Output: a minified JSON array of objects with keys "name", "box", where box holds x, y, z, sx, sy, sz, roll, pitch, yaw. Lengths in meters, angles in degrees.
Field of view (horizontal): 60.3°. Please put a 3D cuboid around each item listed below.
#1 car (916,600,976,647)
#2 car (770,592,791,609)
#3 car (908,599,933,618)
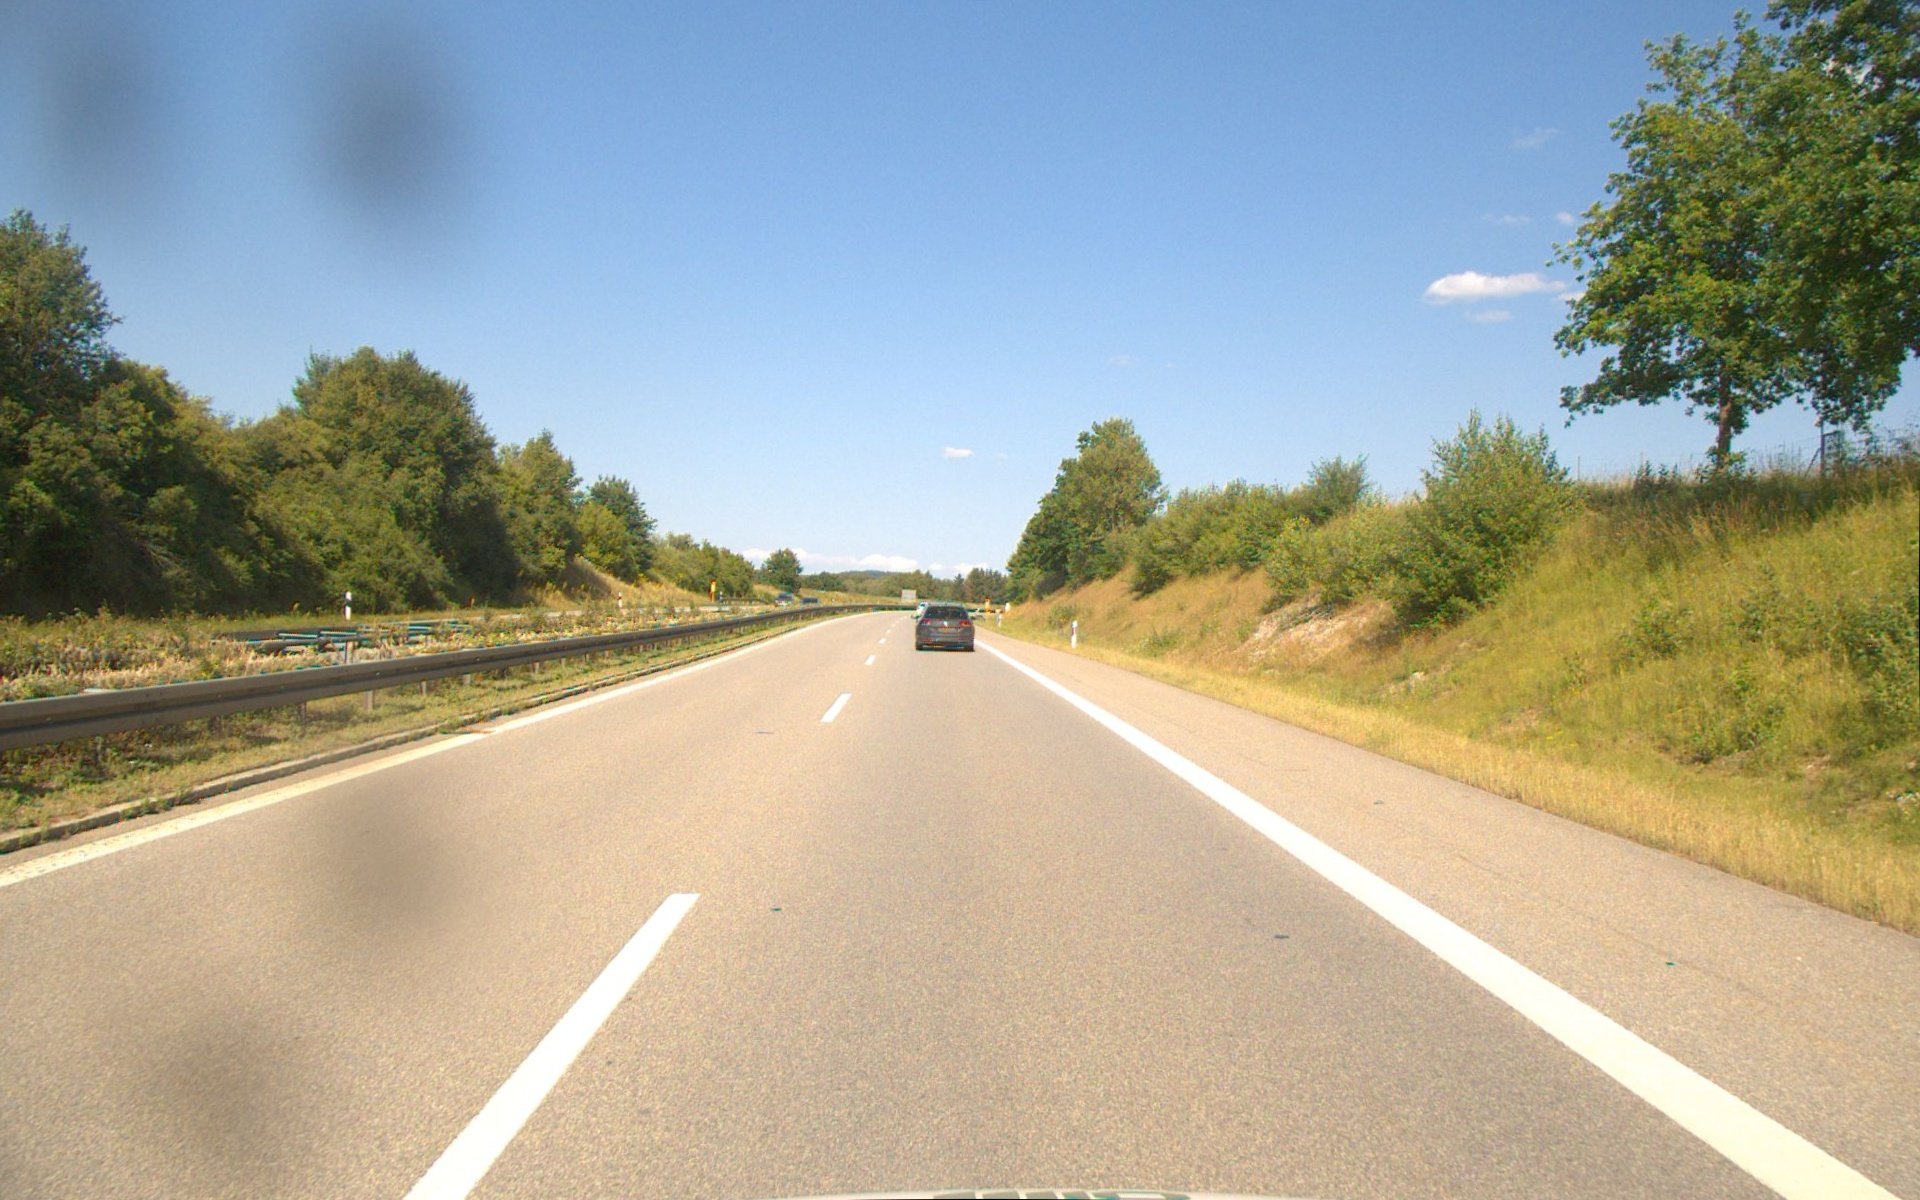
[{"name":"car","box":[-0.442,0.692,50.577,1.754,1.368,3.999,1,0,-1]},{"name":"car","box":[-18.025,0.075,166.253,1.732,1.612,4.790,3,0,-2]},{"name":"car","box":[-3.482,0.763,146.123,1.968,1.367,3.997,6,-1,-3]}]
